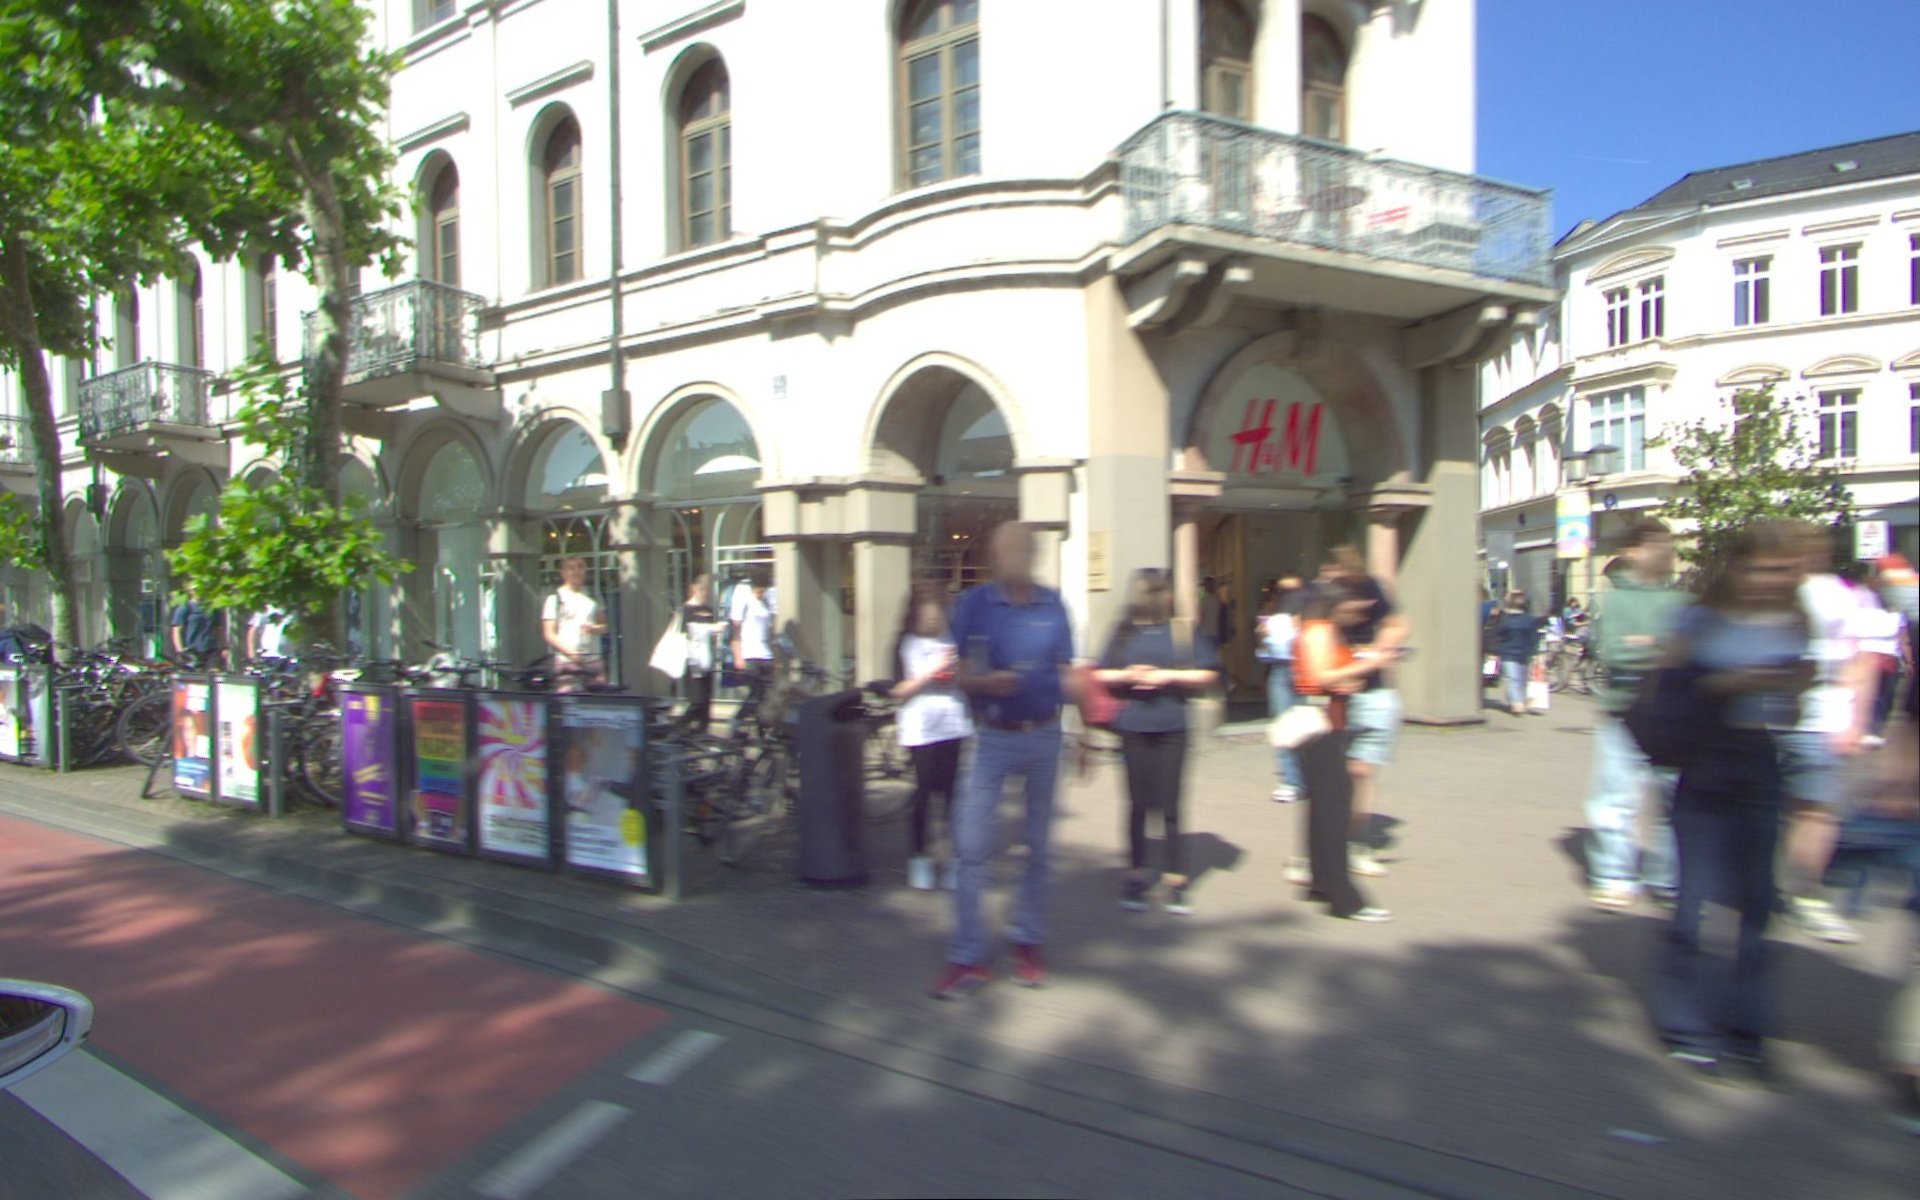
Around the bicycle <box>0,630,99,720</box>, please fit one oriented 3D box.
[{"bbox_3d":[-12.728,0.994,13.392,0.583,1.162,1.751,0,-1,29],"label":"bicycle"}]

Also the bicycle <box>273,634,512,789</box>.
[{"bbox_3d":[-4.804,0.889,8.610,0.583,1.162,1.751,0,-1,29],"label":"bicycle"}]

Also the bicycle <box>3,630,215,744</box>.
[{"bbox_3d":[-9.613,0.938,11.391,0.583,1.162,1.751,0,-1,29],"label":"bicycle"}]

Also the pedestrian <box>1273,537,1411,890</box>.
[{"bbox_3d":[2.012,0.563,5.255,0.612,1.706,0.576,0,-2,28],"label":"pedestrian"}]

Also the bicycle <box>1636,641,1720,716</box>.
[{"bbox_3d":[9.257,0.985,12.958,0.410,0.895,1.809,0,-2,20],"label":"bicycle"}]

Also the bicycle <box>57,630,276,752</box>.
[{"bbox_3d":[-8.412,0.918,10.705,0.583,1.162,1.751,0,-1,29],"label":"bicycle"}]

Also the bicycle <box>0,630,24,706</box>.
[{"bbox_3d":[-15.243,1.044,14.978,0.475,1.162,1.751,0,-1,29],"label":"bicycle"}]

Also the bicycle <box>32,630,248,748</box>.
[{"bbox_3d":[-8.982,0.928,11.049,0.583,1.162,1.751,0,-1,29],"label":"bicycle"}]

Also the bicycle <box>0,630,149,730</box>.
[{"bbox_3d":[-11.336,0.970,12.539,0.583,1.162,1.751,0,-1,29],"label":"bicycle"}]

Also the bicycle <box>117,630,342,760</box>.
[{"bbox_3d":[-7.269,0.899,10.061,0.583,1.162,1.751,0,-1,29],"label":"bicycle"}]

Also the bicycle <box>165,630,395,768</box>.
[{"bbox_3d":[-6.439,0.885,9.587,0.589,1.162,1.751,0,-1,29],"label":"bicycle"}]

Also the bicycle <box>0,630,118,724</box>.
[{"bbox_3d":[-12.153,0.984,13.016,0.583,1.162,1.751,0,-1,29],"label":"bicycle"}]

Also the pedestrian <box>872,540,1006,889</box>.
[{"bbox_3d":[-0.125,0.574,5.258,0.610,1.706,0.578,1,-1,-11],"label":"pedestrian"}]

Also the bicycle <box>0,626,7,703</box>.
[{"bbox_3d":[-15.793,1.013,15.252,0.475,1.209,1.798,0,-1,29],"label":"bicycle"}]

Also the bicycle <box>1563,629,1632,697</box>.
[{"bbox_3d":[9.937,0.963,15.666,0.492,0.988,2.003,0,-2,20],"label":"bicycle"}]

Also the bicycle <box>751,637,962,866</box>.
[{"bbox_3d":[-0.562,0.824,6.053,0.419,1.162,1.627,0,-1,29],"label":"bicycle"}]

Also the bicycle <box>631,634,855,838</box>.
[{"bbox_3d":[-1.386,0.824,6.712,0.515,1.162,1.654,0,-1,29],"label":"bicycle"}]

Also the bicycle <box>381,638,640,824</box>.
[{"bbox_3d":[-3.242,0.884,7.406,0.583,1.162,1.751,0,-1,29],"label":"bicycle"}]

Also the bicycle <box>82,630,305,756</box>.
[{"bbox_3d":[-7.878,0.910,10.384,0.583,1.162,1.751,0,-1,29],"label":"bicycle"}]

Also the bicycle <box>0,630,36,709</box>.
[{"bbox_3d":[-14.723,1.034,14.625,0.475,1.162,1.751,0,-1,29],"label":"bicycle"}]

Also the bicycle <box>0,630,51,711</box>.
[{"bbox_3d":[-14.192,1.022,14.290,0.475,1.162,1.751,0,-1,29],"label":"bicycle"}]

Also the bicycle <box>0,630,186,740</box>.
[{"bbox_3d":[-10.262,0.949,11.771,0.583,1.162,1.751,0,-1,29],"label":"bicycle"}]

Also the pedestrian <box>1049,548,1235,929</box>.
[{"bbox_3d":[0.904,0.635,4.929,0.763,1.706,0.576,0,-2,28],"label":"pedestrian"}]

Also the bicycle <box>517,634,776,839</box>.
[{"bbox_3d":[-2.034,0.828,6.756,0.583,1.162,1.751,0,-1,29],"label":"bicycle"}]

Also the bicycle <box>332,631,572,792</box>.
[{"bbox_3d":[-4.131,0.847,8.289,0.583,1.162,1.751,0,-1,29],"label":"bicycle"}]

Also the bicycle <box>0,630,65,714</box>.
[{"bbox_3d":[-13.681,1.009,13.944,0.475,1.162,1.751,0,-1,29],"label":"bicycle"}]

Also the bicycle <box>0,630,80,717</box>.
[{"bbox_3d":[-13.215,1.002,13.674,0.475,1.162,1.751,0,-1,29],"label":"bicycle"}]

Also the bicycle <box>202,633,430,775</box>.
[{"bbox_3d":[-5.919,0.907,9.316,0.510,1.162,1.751,0,-1,29],"label":"bicycle"}]

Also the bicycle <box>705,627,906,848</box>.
[{"bbox_3d":[-0.923,0.789,6.358,0.419,1.212,1.527,0,-1,29],"label":"bicycle"}]

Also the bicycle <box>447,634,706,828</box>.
[{"bbox_3d":[-2.629,0.838,7.078,0.583,1.162,1.751,0,-1,29],"label":"bicycle"}]

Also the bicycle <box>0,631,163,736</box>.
[{"bbox_3d":[-10.767,0.968,12.110,0.511,1.162,1.701,0,-1,29],"label":"bicycle"}]

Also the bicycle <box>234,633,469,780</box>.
[{"bbox_3d":[-5.400,0.890,9.001,0.583,1.162,1.751,0,-1,29],"label":"bicycle"}]

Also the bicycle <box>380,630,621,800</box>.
[{"bbox_3d":[-3.604,0.843,8.017,0.583,1.173,1.751,0,-1,29],"label":"bicycle"}]
